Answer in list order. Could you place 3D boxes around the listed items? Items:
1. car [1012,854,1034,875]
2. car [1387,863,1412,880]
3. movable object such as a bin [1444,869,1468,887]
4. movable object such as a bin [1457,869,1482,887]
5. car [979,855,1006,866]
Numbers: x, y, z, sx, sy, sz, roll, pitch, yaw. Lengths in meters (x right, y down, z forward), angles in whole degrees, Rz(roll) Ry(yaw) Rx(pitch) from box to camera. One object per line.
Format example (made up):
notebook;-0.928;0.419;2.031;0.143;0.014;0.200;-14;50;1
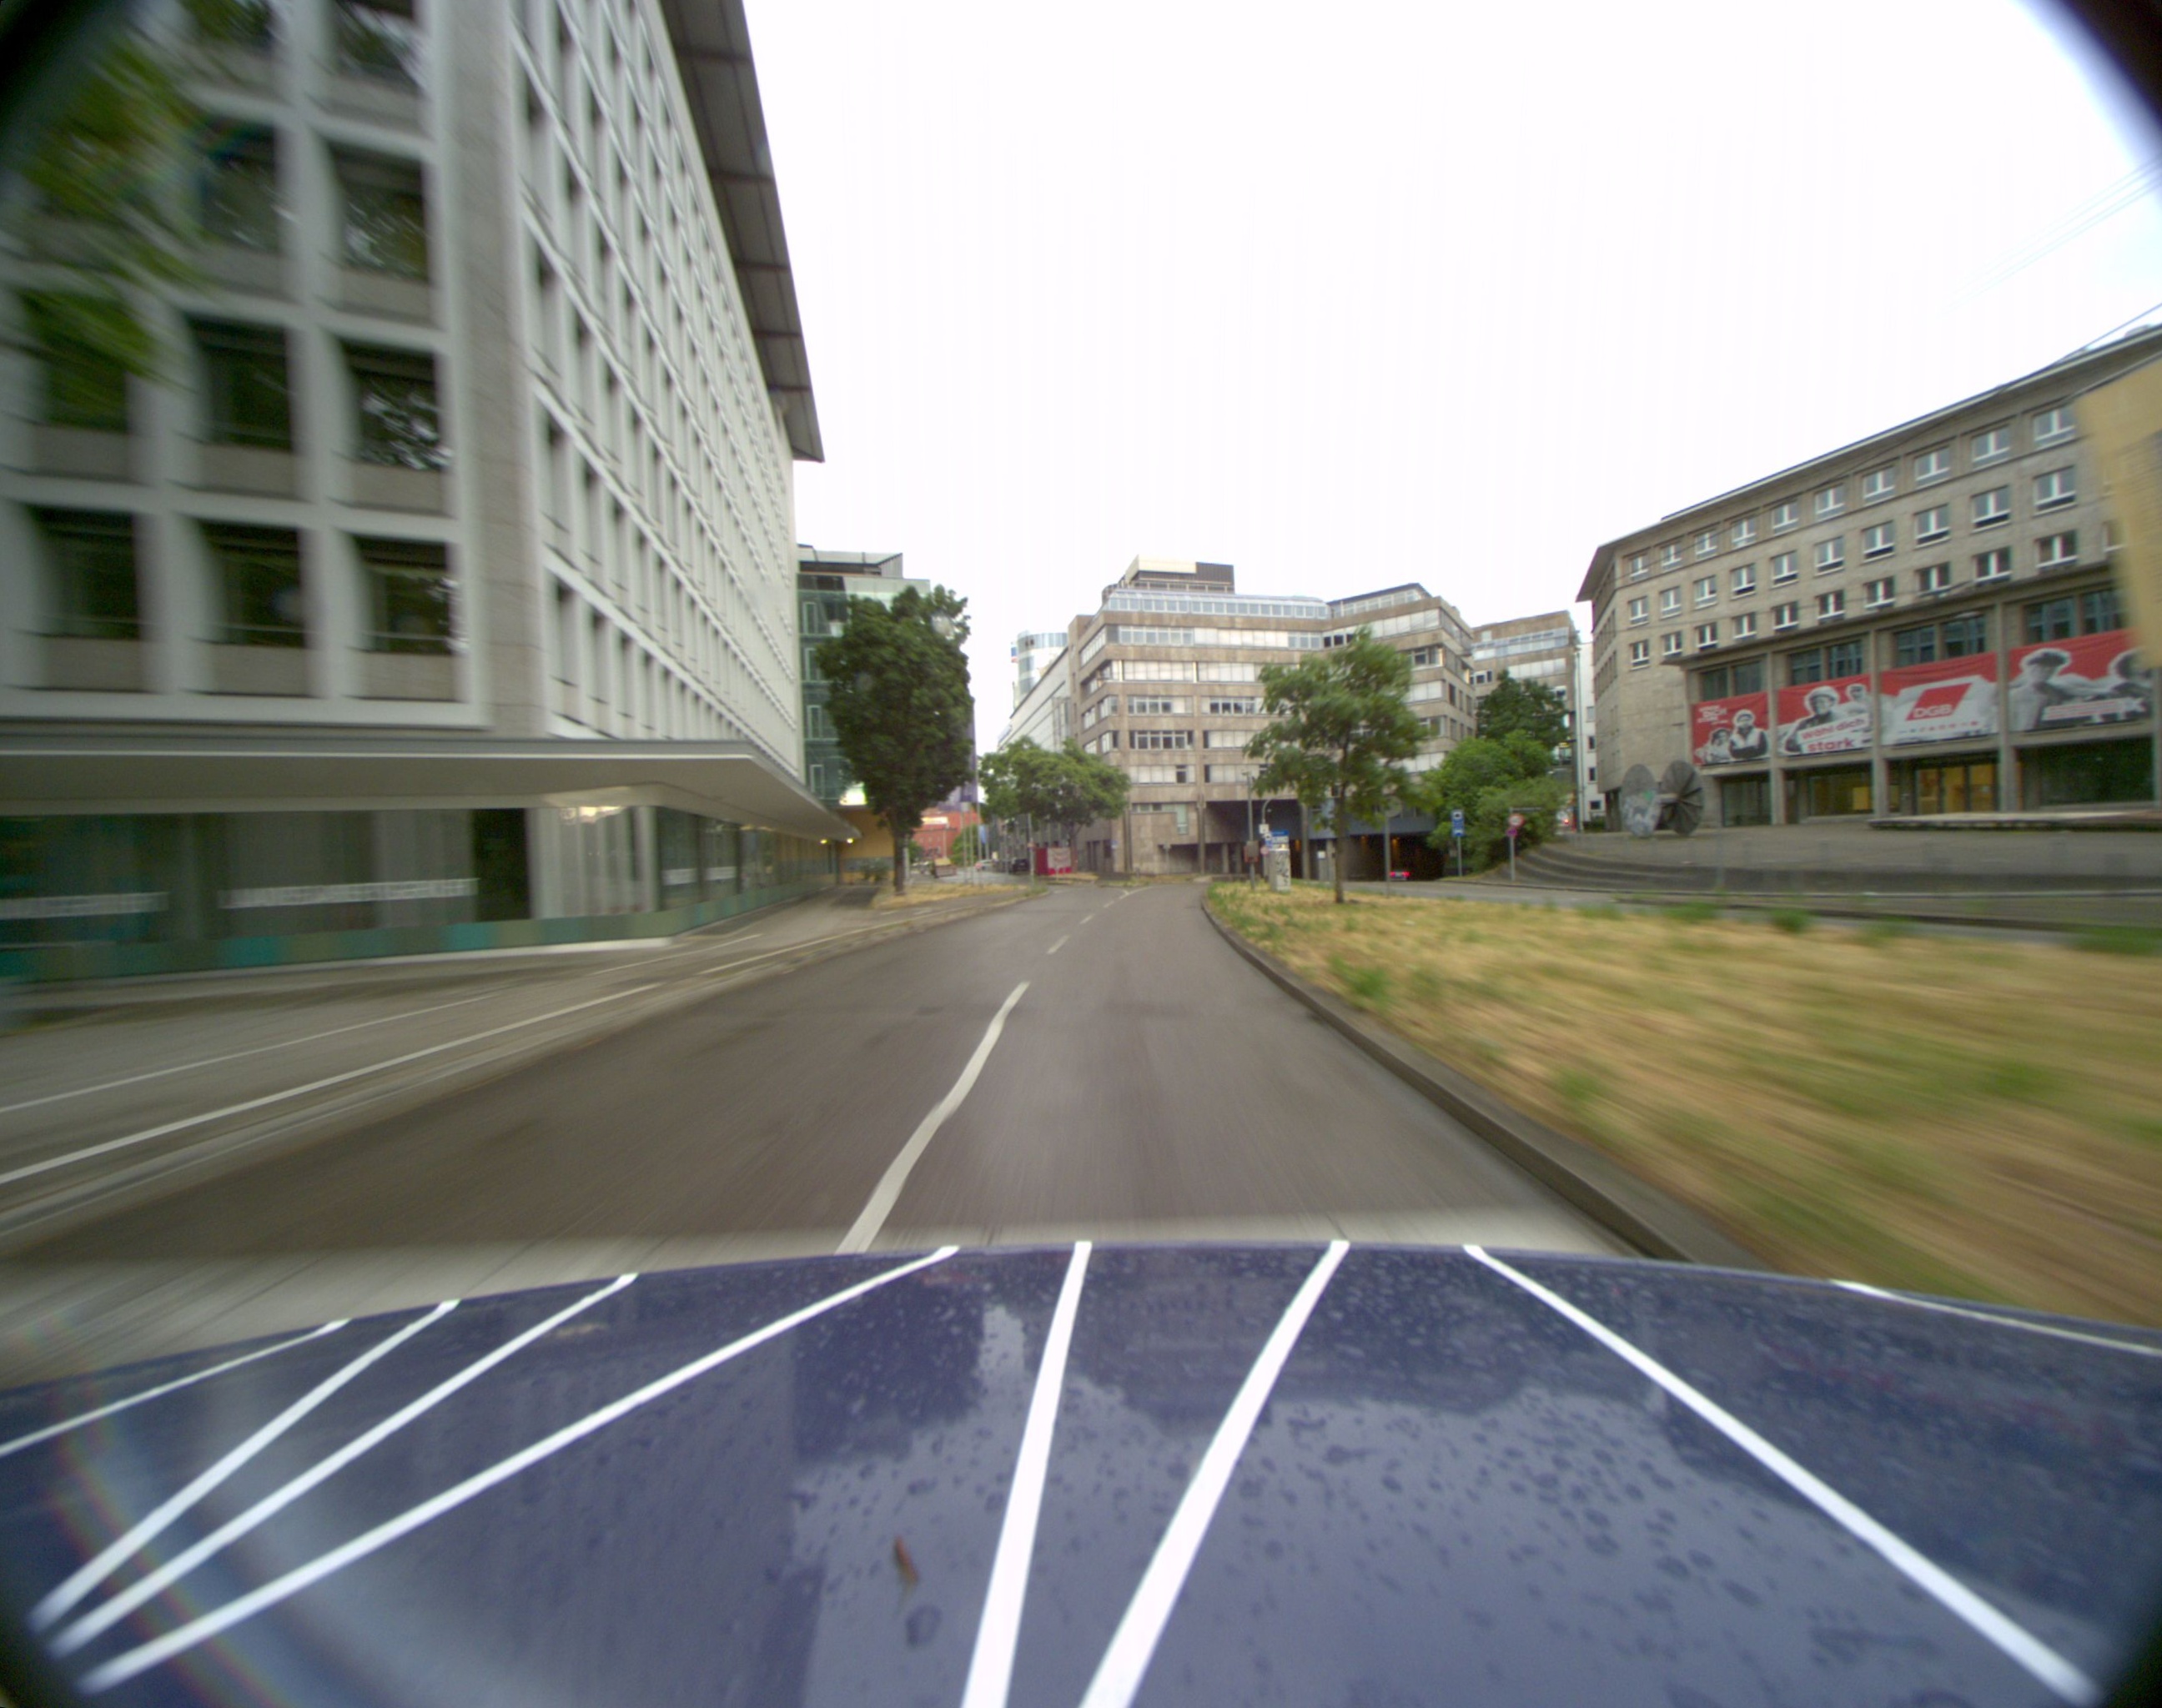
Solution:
car;-6.274;1.144;82.408;2.000;2.067;3.997;-3;0;-8
car;29.700;1.614;70.860;1.995;1.484;4.850;-1;0;23
movable object such as a bin;31.035;1.957;62.924;1.169;1.442;1.337;-1;0;-23
movable object such as a bin;31.387;1.913;61.418;1.297;1.442;1.206;-1;0;-15
car;-13.593;1.043;116.729;3.777;1.641;1.796;0;-1;-27
